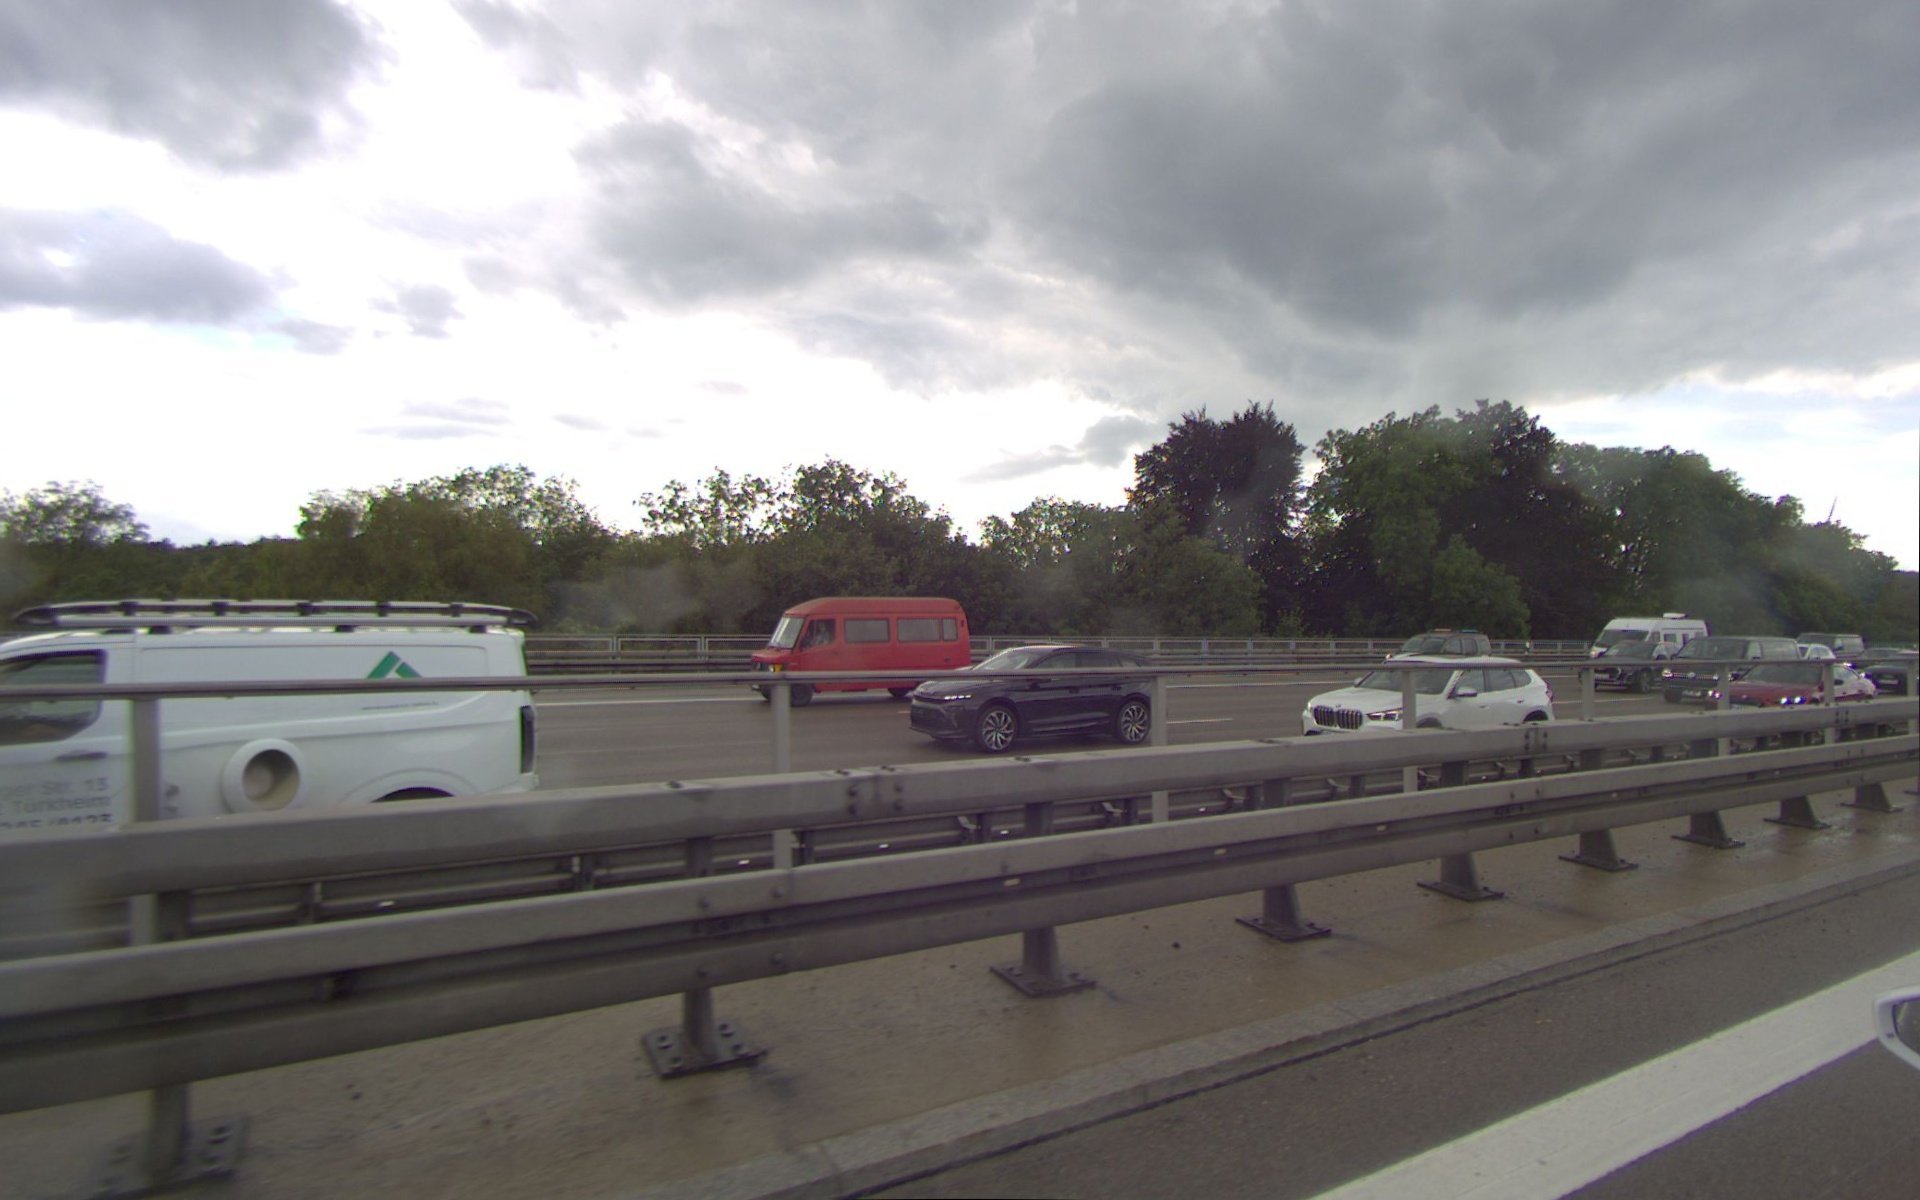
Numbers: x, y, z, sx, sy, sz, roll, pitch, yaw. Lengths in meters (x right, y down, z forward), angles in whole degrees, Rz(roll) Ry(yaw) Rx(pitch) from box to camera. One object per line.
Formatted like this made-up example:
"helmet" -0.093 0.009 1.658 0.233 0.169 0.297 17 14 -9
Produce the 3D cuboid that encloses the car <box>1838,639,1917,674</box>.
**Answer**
"car" 40.546 2.467 44.374 3.956 1.437 1.624 2 -2 -32

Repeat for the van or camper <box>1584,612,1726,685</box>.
"van or camper" 28.681 1.952 41.366 7.151 2.802 2.190 1 -1 -32

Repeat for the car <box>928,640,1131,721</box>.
"car" 1.482 1.611 20.910 3.956 1.520 1.780 2 -2 -32

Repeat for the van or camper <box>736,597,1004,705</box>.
"van or camper" -2.046 1.231 24.078 6.164 2.335 1.930 2 -2 -31

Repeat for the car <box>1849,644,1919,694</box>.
"car" 33.402 2.372 35.483 4.414 1.634 1.853 1 -2 -32

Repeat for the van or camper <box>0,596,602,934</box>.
"van or camper" -5.786 1.055 7.502 5.580 2.095 1.973 1 -2 -32

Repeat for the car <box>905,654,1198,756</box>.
"car" 1.632 1.673 16.943 4.960 1.427 1.668 1 -2 -32

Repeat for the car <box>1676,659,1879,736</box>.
"car" 17.975 2.052 22.015 5.305 1.410 1.864 1 -2 -32

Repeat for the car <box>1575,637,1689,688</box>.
"car" 22.230 2.032 33.208 3.956 1.600 1.668 2 -2 -32

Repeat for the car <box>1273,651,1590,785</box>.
"car" 7.368 1.680 15.507 5.296 1.697 1.816 1 -2 -31

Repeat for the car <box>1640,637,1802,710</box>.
"car" 21.851 2.046 28.806 4.941 1.927 1.885 2 -2 -29

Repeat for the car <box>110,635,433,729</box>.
"car" -12.021 1.383 17.906 4.559 1.495 1.478 2 -2 -31

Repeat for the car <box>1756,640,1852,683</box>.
"car" 33.771 2.414 40.169 4.414 1.634 1.718 1 -2 -32

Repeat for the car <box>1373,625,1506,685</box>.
"car" 16.818 1.903 35.177 4.707 1.970 2.065 2 -2 -32
